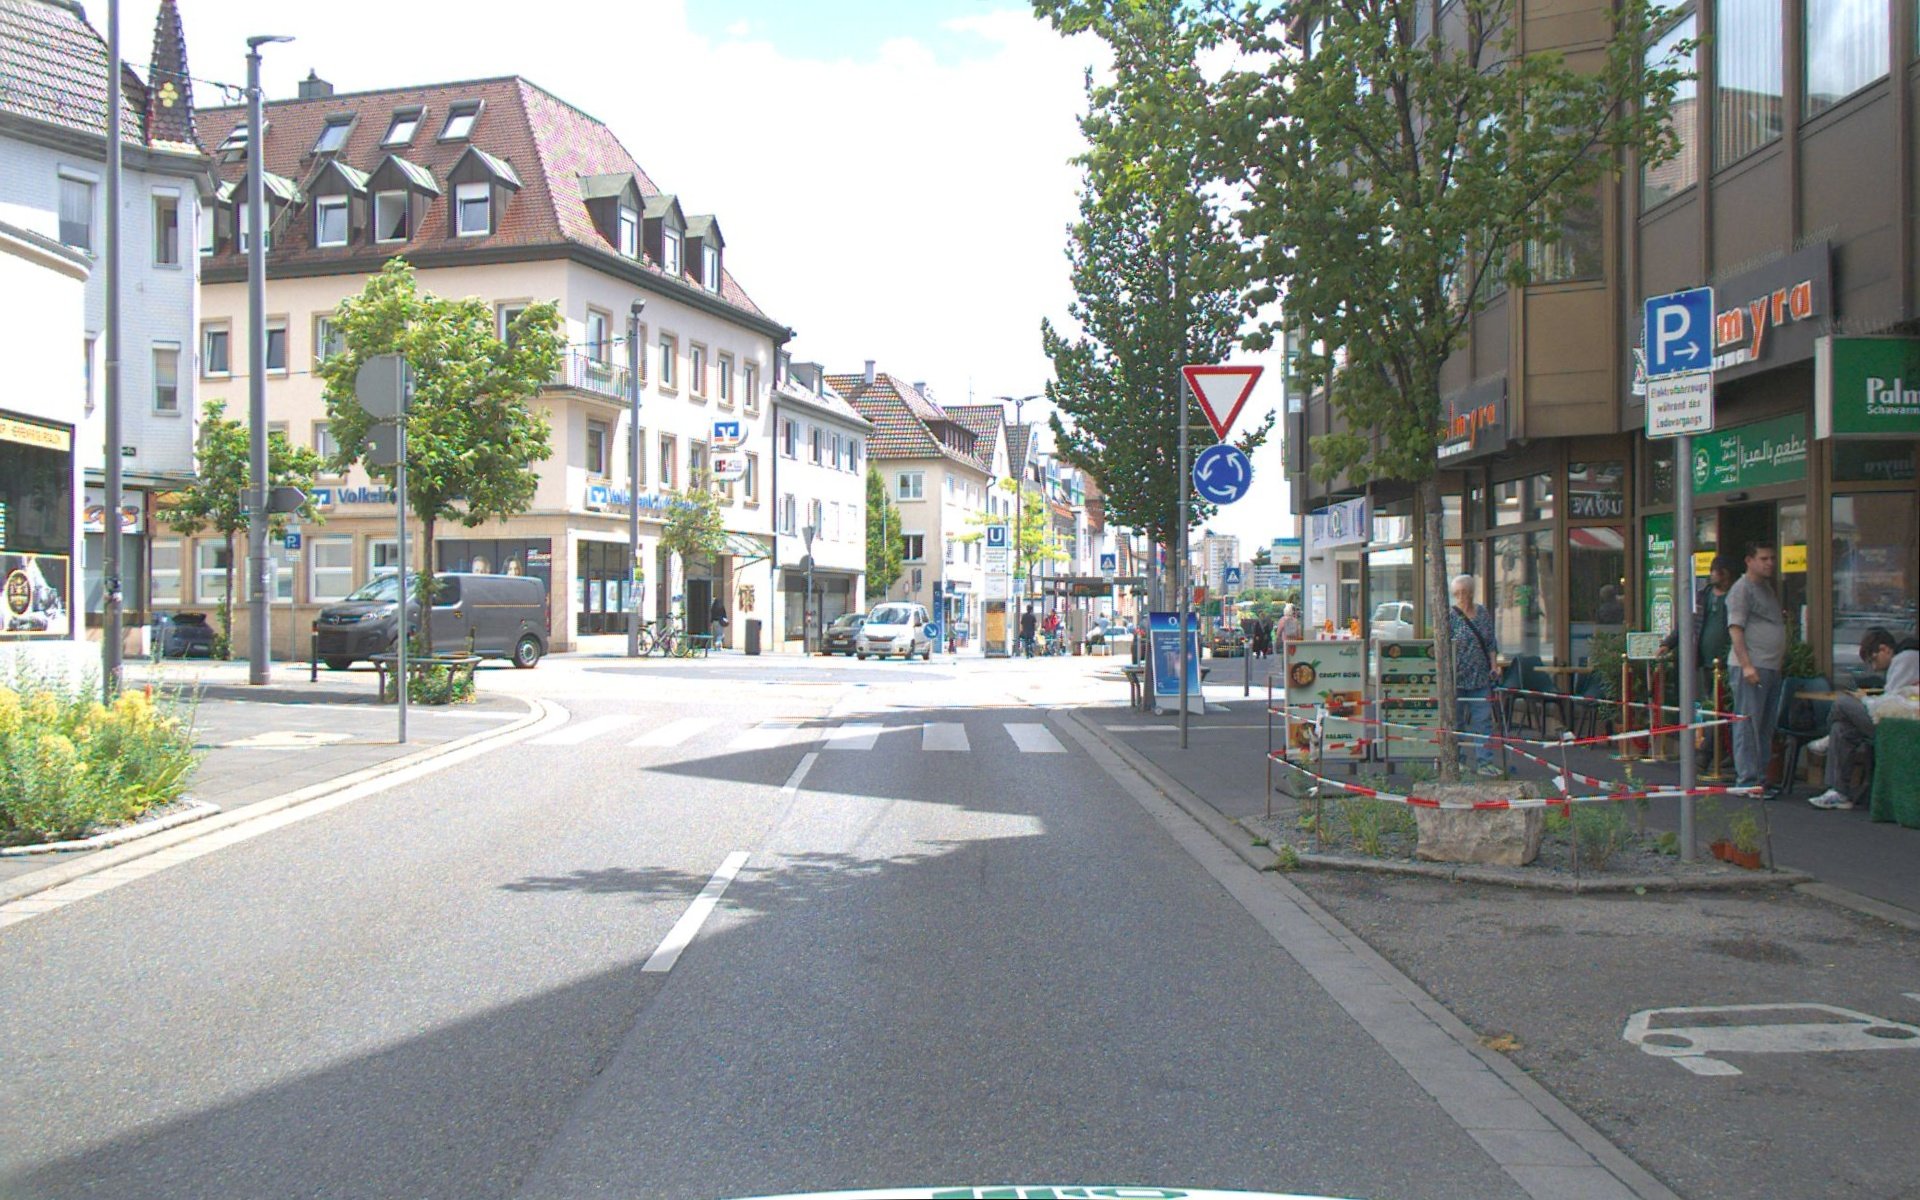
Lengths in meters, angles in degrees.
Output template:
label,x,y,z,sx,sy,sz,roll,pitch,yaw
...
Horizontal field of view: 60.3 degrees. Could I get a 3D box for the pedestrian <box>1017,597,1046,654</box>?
label,x,y,z,sx,sy,sz,roll,pitch,yaw
pedestrian,2.183,0.788,50.818,0.851,1.738,0.531,1,-1,2

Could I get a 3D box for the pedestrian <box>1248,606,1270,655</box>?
label,x,y,z,sx,sy,sz,roll,pitch,yaw
pedestrian,10.521,1.065,58.265,0.608,1.719,0.652,1,-1,-1

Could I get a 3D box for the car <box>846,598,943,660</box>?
label,x,y,z,sx,sy,sz,roll,pitch,yaw
car,-1.890,0.853,49.162,1.951,1.719,4.003,1,-1,12

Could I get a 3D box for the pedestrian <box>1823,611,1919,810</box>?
label,x,y,z,sx,sy,sz,roll,pitch,yaw
pedestrian,6.207,0.719,10.997,0.608,1.275,0.613,1,-1,2

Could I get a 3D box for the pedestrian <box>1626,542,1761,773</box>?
label,x,y,z,sx,sy,sz,roll,pitch,yaw
pedestrian,6.053,0.468,13.675,0.793,1.845,0.654,1,-1,-1

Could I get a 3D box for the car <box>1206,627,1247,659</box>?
label,x,y,z,sx,sy,sz,roll,pitch,yaw
car,14.885,2.403,92.462,1.908,1.668,4.002,1,-1,4

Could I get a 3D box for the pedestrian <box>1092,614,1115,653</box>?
label,x,y,z,sx,sy,sz,roll,pitch,yaw
pedestrian,6.028,1.399,69.437,0.714,1.607,0.747,1,0,31

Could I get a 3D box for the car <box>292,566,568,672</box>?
label,x,y,z,sx,sy,sz,roll,pitch,yaw
car,-10.126,0.369,32.036,2.004,1.881,4.987,1,-1,31

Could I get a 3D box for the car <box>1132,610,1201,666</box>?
label,x,y,z,sx,sy,sz,roll,pitch,yaw
car,6.123,1.090,48.779,1.661,1.557,3.474,1,-1,13

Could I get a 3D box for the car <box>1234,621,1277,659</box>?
label,x,y,z,sx,sy,sz,roll,pitch,yaw
car,12.803,1.713,71.465,1.661,1.557,3.474,1,-1,13

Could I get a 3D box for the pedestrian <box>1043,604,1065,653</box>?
label,x,y,z,sx,sy,sz,roll,pitch,yaw
pedestrian,3.504,1.067,61.823,0.712,1.794,0.749,1,0,9

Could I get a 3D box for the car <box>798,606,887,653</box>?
label,x,y,z,sx,sy,sz,roll,pitch,yaw
car,-3.915,0.977,55.838,1.951,1.478,4.003,1,-1,12

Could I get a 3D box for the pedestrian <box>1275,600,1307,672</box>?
label,x,y,z,sx,sy,sz,roll,pitch,yaw
pedestrian,7.993,0.859,39.935,0.608,1.719,0.652,1,-1,-1

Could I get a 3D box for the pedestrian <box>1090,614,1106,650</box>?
label,x,y,z,sx,sy,sz,roll,pitch,yaw
pedestrian,5.206,1.205,62.434,0.579,1.339,0.591,1,-1,5

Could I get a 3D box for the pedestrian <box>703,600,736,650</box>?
label,x,y,z,sx,sy,sz,roll,pitch,yaw
pedestrian,-7.553,0.793,51.972,0.613,1.559,0.858,1,-1,23

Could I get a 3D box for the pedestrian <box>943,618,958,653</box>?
label,x,y,z,sx,sy,sz,roll,pitch,yaw
pedestrian,-0.447,1.655,77.369,0.678,1.638,0.644,1,-1,1

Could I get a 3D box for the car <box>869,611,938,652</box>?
label,x,y,z,sx,sy,sz,roll,pitch,yaw
car,-2.233,1.250,66.533,1.806,1.572,4.003,1,-1,12

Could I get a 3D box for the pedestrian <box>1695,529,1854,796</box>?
label,x,y,z,sx,sy,sz,roll,pitch,yaw
pedestrian,5.879,0.440,11.972,0.722,1.846,0.711,-2,-1,-1

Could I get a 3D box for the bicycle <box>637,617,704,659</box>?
label,x,y,z,sx,sy,sz,roll,pitch,yaw
bicycle,-7.516,0.981,42.942,1.597,1.049,0.568,1,-1,14

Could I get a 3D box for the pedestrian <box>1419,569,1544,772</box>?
label,x,y,z,sx,sy,sz,roll,pitch,yaw
pedestrian,4.339,0.572,13.814,0.768,1.644,0.800,0,-1,-1

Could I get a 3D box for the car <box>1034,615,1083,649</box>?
label,x,y,z,sx,sy,sz,roll,pitch,yaw
car,5.086,1.651,84.951,1.835,1.652,4.003,1,-1,12
